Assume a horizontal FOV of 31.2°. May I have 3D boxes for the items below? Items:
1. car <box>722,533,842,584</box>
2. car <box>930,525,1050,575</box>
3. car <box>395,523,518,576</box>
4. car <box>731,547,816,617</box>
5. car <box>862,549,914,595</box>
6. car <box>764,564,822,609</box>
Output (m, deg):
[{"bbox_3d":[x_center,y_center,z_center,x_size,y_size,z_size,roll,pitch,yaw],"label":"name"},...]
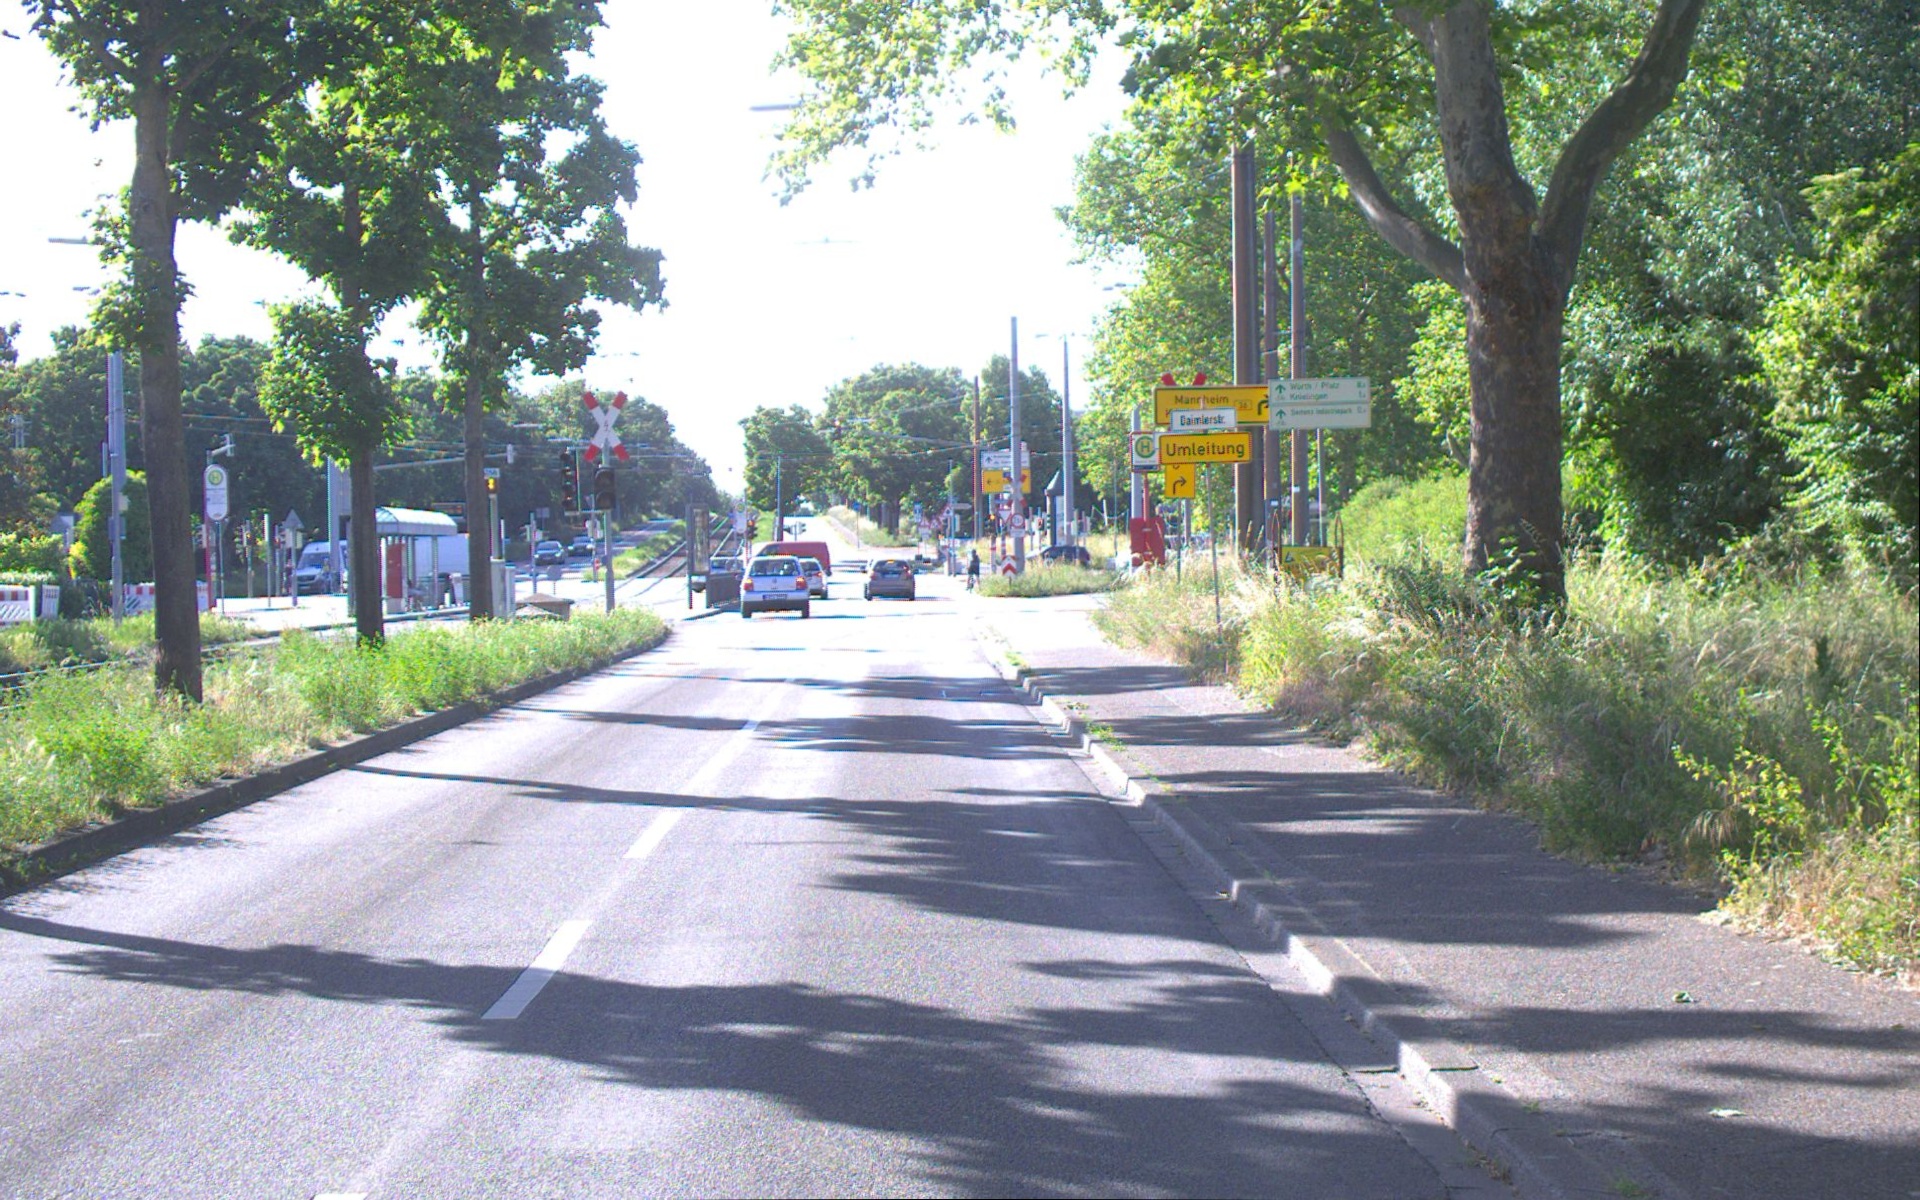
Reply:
[{"bbox_3d":[-8.218,-1.916,158.926,5.147,2.267,2.001,0,0,-25],"label":"car"},{"bbox_3d":[1.390,-2.301,159.188,5.147,2.267,2.001,0,0,-25],"label":"car"},{"bbox_3d":[-23.075,-2.300,157.520,5.243,2.346,1.866,0,0,-30],"label":"car"},{"bbox_3d":[-4.390,-0.434,81.447,1.860,1.595,4.228,0,0,-1],"label":"car"},{"bbox_3d":[-2.530,-0.987,120.714,1.791,1.554,4.228,0,0,-1],"label":"car"},{"bbox_3d":[-6.103,-0.498,125.811,1.993,1.598,4.474,0,0,-1],"label":"car"}]
